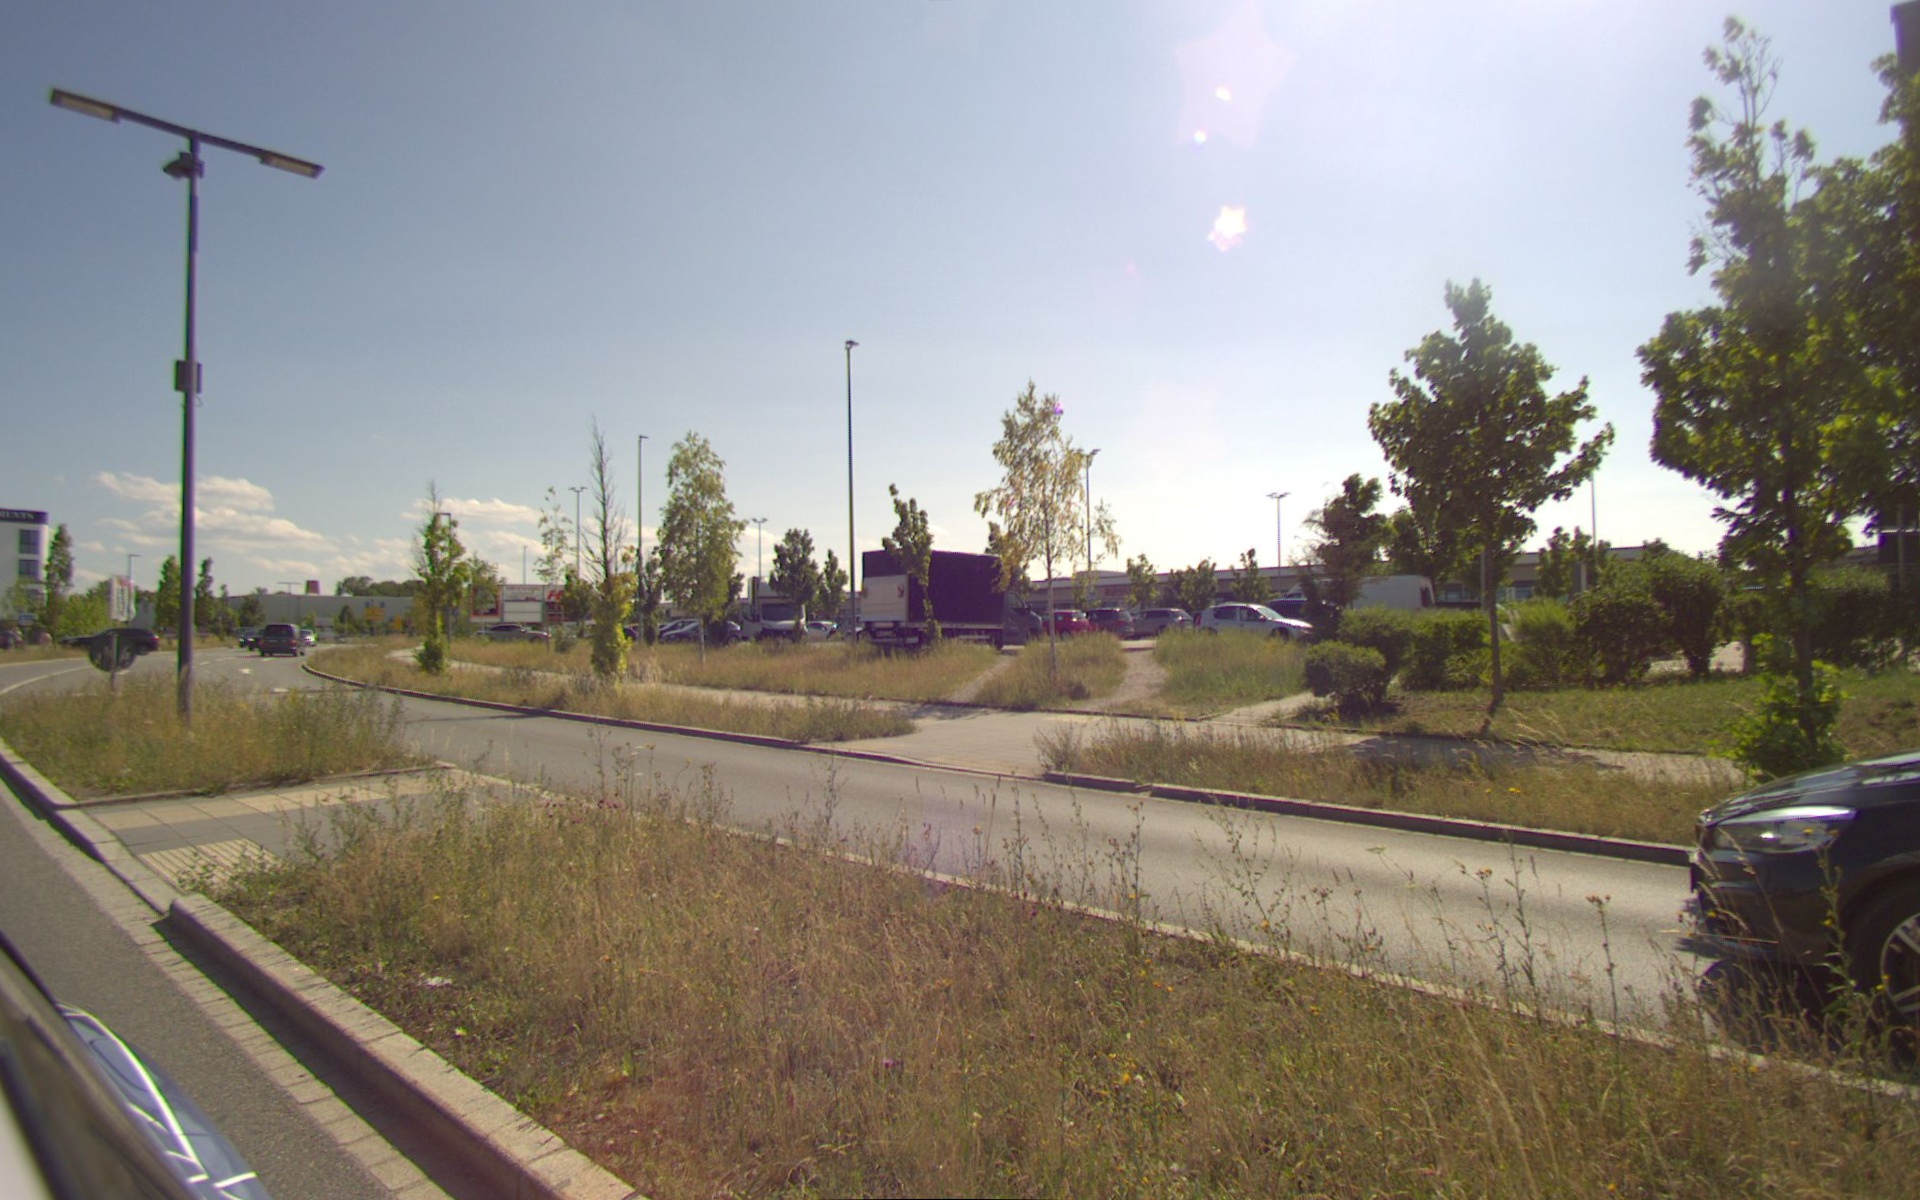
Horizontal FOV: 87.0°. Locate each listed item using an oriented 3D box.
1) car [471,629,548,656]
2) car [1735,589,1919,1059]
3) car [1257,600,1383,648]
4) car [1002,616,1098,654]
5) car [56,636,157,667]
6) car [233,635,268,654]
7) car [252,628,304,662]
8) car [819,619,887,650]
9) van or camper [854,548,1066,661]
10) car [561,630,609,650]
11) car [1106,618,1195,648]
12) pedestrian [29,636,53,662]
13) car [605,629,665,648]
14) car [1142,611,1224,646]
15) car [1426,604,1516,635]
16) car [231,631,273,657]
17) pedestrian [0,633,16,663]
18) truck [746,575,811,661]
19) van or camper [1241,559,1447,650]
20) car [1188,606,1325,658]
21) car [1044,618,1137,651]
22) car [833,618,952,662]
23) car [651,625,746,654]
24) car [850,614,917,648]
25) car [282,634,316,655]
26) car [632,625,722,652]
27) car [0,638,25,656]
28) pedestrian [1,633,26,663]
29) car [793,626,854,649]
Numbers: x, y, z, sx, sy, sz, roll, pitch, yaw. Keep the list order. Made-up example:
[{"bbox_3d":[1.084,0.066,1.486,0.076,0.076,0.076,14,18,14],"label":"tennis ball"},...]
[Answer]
[{"bbox_3d":[-30.663,2.913,69.026,4.694,1.656,2.122,-1,-3,-23],"label":"car"},{"bbox_3d":[5.003,0.748,2.950,4.238,1.555,1.740,-2,-5,41],"label":"car"},{"bbox_3d":[13.344,0.916,37.610,4.081,1.683,1.644,-2,-2,41],"label":"car"},{"bbox_3d":[4.306,1.692,48.840,4.379,1.787,1.813,-2,-2,41],"label":"car"},{"bbox_3d":[-51.716,3.102,61.383,1.900,1.692,4.407,-4,-4,39],"label":"car"},{"bbox_3d":[-59.912,3.740,85.495,1.756,1.505,4.013,0,-2,-26],"label":"car"},{"bbox_3d":[-38.061,2.526,56.549,1.923,1.808,4.440,2,-4,-28],"label":"car"},{"bbox_3d":[-6.691,2.141,62.851,4.383,1.837,1.811,-2,-3,44],"label":"car"},{"bbox_3d":[0.161,0.224,34.896,7.599,3.495,2.558,1,-3,-42],"label":"van or camper"},{"bbox_3d":[-36.226,3.848,97.825,4.086,1.875,1.938,1,-3,-29],"label":"car"},{"bbox_3d":[10.256,1.801,54.647,4.379,1.574,1.813,-2,-2,41],"label":"car"},{"bbox_3d":[-52.005,2.764,57.273,0.781,1.481,0.952,0,-2,-27],"label":"pedestrian"},{"bbox_3d":[-34.083,4.063,106.166,5.606,1.980,2.004,1,-3,-36],"label":"car"},{"bbox_3d":[13.040,1.674,59.266,4.379,2.009,1.813,-2,-2,41],"label":"car"},{"bbox_3d":[27.495,1.094,54.519,4.081,1.599,1.643,-2,-2,41],"label":"car"},{"bbox_3d":[-48.538,3.021,69.465,1.727,1.700,4.395,1,-3,-27],"label":"car"},{"bbox_3d":[-53.289,2.655,56.376,0.797,1.641,0.869,0,-2,-27],"label":"pedestrian"},{"bbox_3d":[-8.129,0.847,44.780,2.285,3.491,7.514,0,-2,-14],"label":"truck"},{"bbox_3d":[15.102,0.274,40.199,7.234,3.296,2.403,-2,-3,42],"label":"van or camper"},{"bbox_3d":[9.874,1.076,33.894,4.081,1.627,1.644,-2,-2,41],"label":"car"},{"bbox_3d":[6.511,1.740,50.831,4.379,1.574,1.813,-2,-2,41],"label":"car"},{"bbox_3d":[-2.498,1.500,38.331,4.315,1.564,1.840,1,-3,-43],"label":"car"},{"bbox_3d":[-13.470,2.018,52.285,4.363,1.394,1.981,1,-2,-32],"label":"car"},{"bbox_3d":[-4.968,2.015,65.222,4.383,2.080,1.811,-2,-3,44],"label":"car"},{"bbox_3d":[-56.455,3.797,86.468,1.923,1.740,4.440,2,-3,-28],"label":"car"},{"bbox_3d":[-15.918,2.153,57.017,4.513,1.469,1.843,1,-2,-32],"label":"car"},{"bbox_3d":[-77.517,3.821,82.256,1.492,1.418,4.011,1,-3,-33],"label":"car"},{"bbox_3d":[-52.336,2.640,55.972,0.789,1.642,0.807,0,-2,-27],"label":"pedestrian"},{"bbox_3d":[-9.368,2.557,69.364,4.383,1.523,1.811,-2,-3,44],"label":"car"}]
